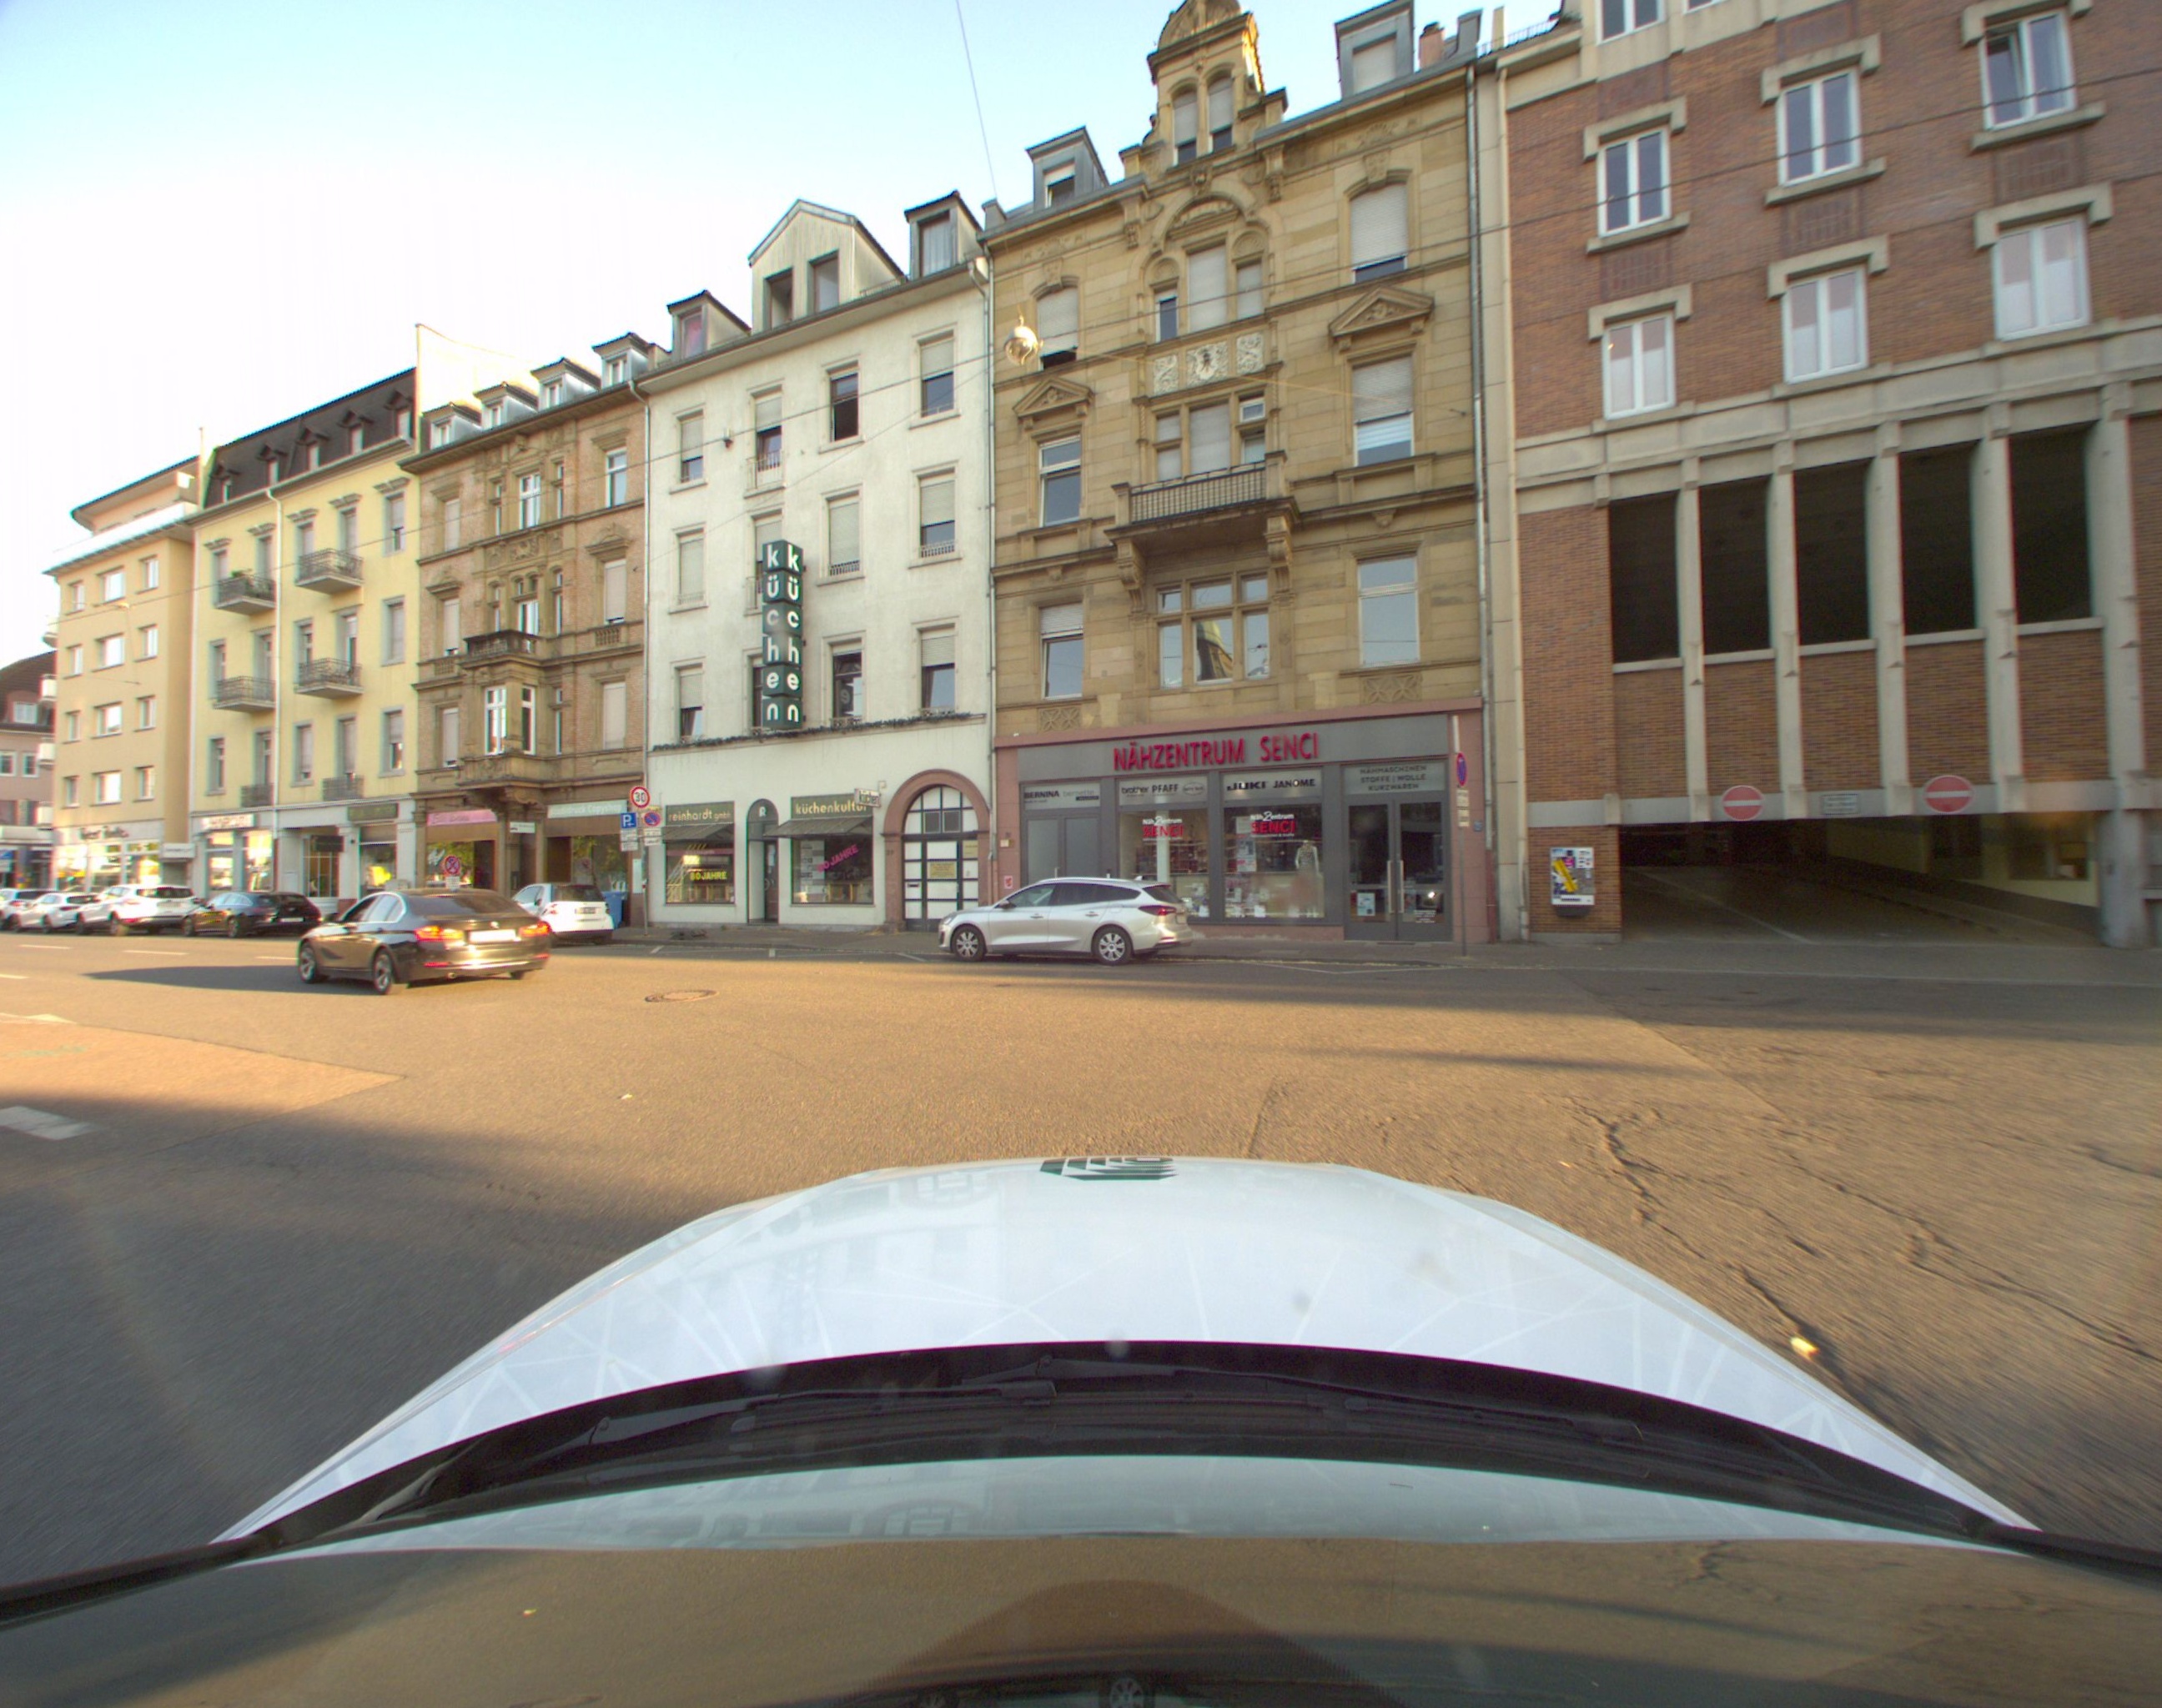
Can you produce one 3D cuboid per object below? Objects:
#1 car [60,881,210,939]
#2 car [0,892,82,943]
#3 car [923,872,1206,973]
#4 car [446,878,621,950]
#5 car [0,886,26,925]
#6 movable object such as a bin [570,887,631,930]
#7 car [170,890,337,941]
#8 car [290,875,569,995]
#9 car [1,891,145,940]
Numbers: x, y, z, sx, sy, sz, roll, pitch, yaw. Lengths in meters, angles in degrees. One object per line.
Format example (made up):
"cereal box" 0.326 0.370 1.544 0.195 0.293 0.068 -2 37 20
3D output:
"car" -31.703 1.809 27.285 4.603 1.745 1.898 0 -1 23
"car" -41.681 2.431 31.989 4.355 1.762 1.884 0 -1 23
"car" -0.281 1.121 14.645 4.626 1.535 2.010 0 -1 22
"car" -13.639 1.421 20.290 3.951 1.585 1.715 0 -1 23
"car" -47.327 2.209 34.467 4.746 1.613 2.010 -1 -2 22
"movable object such as a bin" -14.066 1.576 23.835 1.381 1.187 0.874 -1 -2 23
"car" -25.846 1.862 25.426 4.791 1.434 2.011 -1 -2 23
"car" -9.697 1.088 12.067 4.150 1.492 1.906 -2 -3 32
"car" -36.695 2.195 29.646 4.810 1.543 2.033 0 -1 24
